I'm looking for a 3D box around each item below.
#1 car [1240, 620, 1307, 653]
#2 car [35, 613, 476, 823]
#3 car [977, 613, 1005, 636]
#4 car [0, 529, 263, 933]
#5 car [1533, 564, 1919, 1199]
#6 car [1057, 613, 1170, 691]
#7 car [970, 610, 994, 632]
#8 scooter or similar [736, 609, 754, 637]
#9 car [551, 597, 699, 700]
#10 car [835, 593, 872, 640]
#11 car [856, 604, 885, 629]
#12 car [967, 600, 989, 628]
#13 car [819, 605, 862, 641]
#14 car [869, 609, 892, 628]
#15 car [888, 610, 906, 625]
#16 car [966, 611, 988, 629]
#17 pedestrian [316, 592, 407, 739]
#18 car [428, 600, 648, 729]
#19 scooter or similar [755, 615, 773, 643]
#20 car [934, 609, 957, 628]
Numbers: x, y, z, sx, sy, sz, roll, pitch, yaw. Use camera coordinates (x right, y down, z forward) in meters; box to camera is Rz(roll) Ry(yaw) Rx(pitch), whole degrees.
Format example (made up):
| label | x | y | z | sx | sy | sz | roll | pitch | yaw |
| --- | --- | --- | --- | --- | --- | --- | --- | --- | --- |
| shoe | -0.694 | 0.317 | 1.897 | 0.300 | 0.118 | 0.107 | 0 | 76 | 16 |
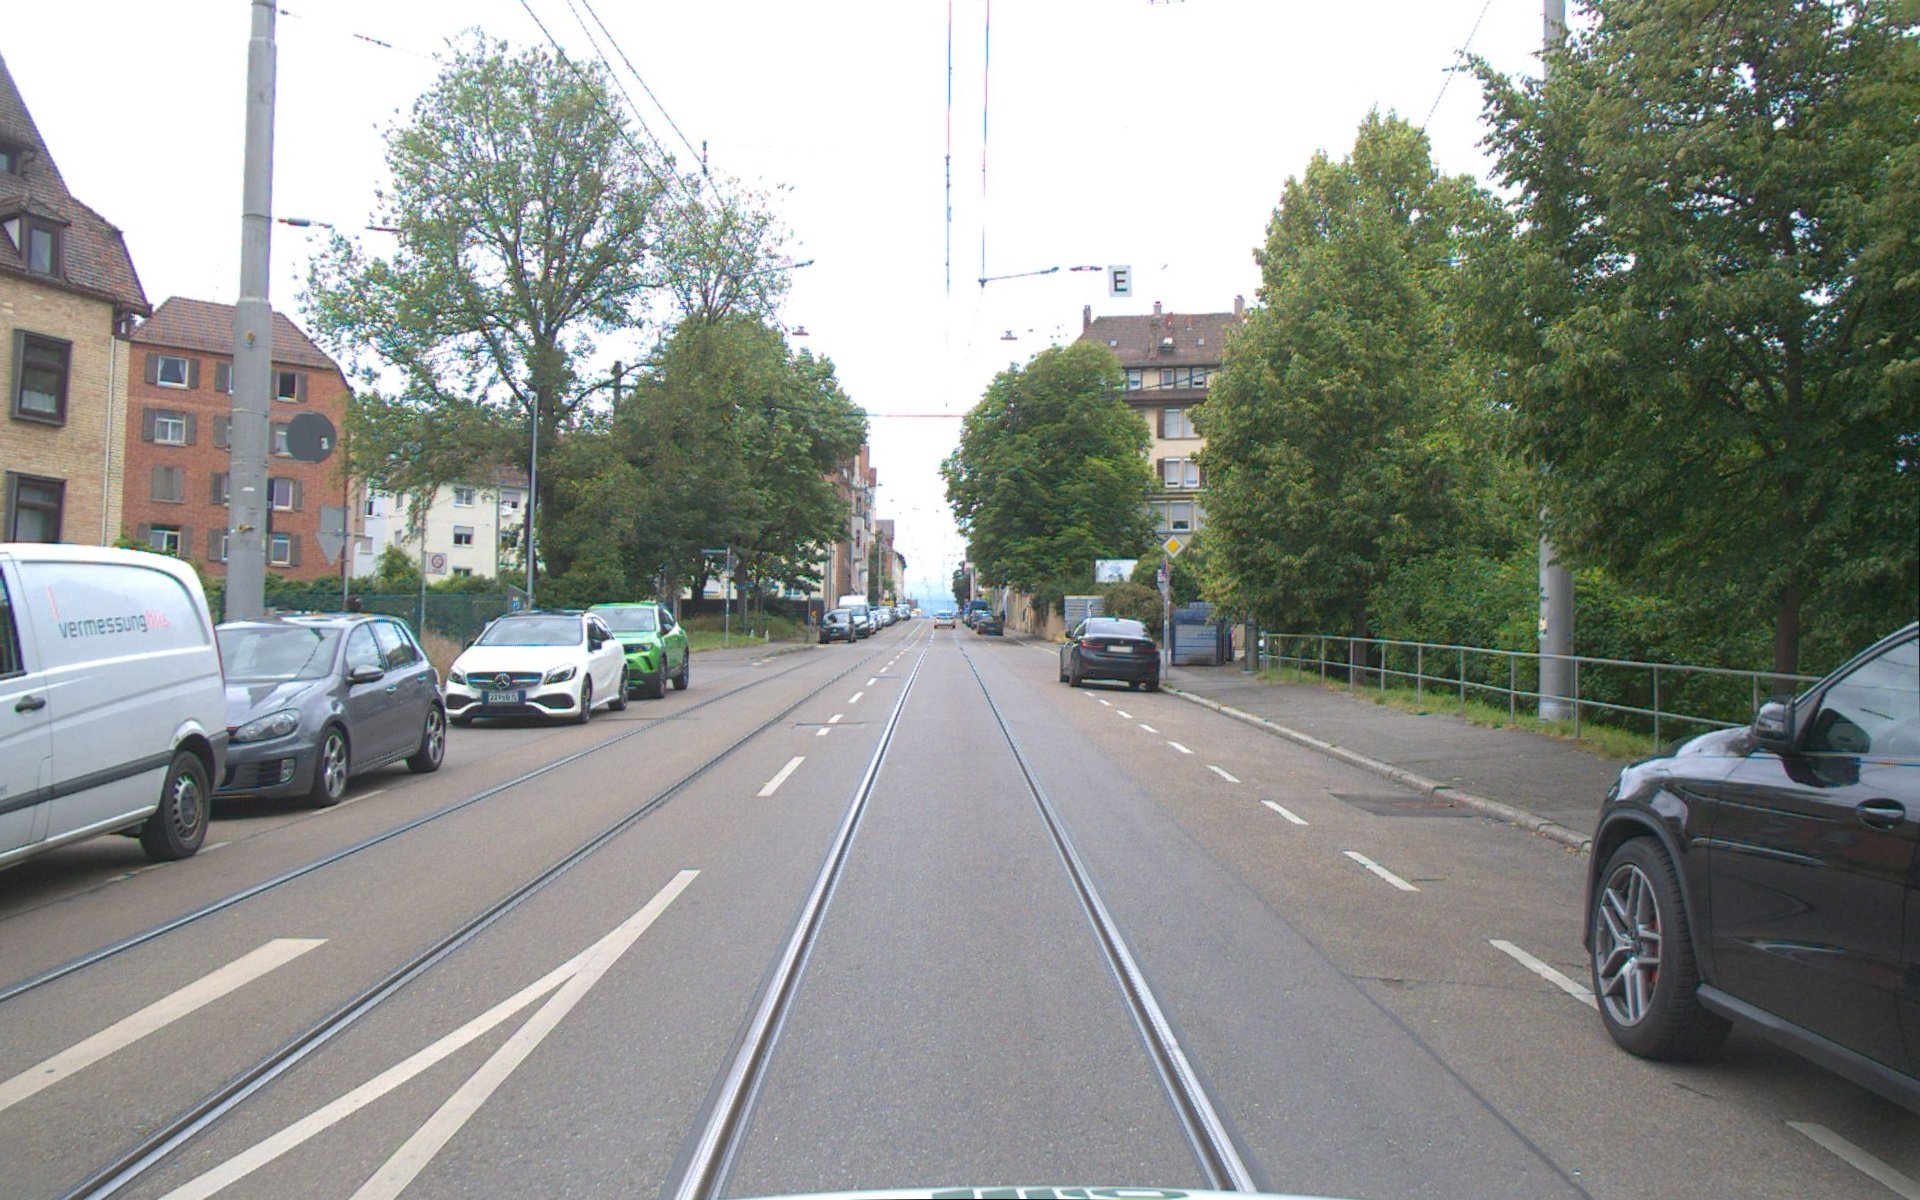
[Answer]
| label | x | y | z | sx | sy | sz | roll | pitch | yaw |
| --- | --- | --- | --- | --- | --- | --- | --- | --- | --- |
| car | 15.048 | 1.748 | 79.270 | 1.955 | 1.505 | 4.457 | 1 | -1 | 28 |
| car | -5.692 | 0.858 | 14.071 | 1.857 | 1.458 | 4.510 | 0 | 0 | -1 |
| car | 2.174 | 1.777 | 117.979 | 1.952 | 1.557 | 4.312 | 1 | -1 | 0 |
| car | -5.578 | 0.664 | 8.524 | 1.995 | 1.914 | 4.883 | -2 | -1 | -2 |
| car | 3.403 | 0.807 | 4.525 | 1.839 | 1.707 | 5.062 | 3 | 0 | 0 |
| car | 3.160 | 1.060 | 34.944 | 1.791 | 1.455 | 4.846 | 3 | -1 | -1 |
| car | 1.815 | 1.771 | 138.845 | 1.953 | 1.747 | 3.999 | 0 | -1 | 0 |
| scooter or similar | -10.903 | 1.173 | 83.962 | 0.676 | 1.362 | 1.639 | 1 | -1 | 0 |
| car | -5.606 | 0.782 | 28.171 | 1.688 | 1.607 | 4.180 | 0 | 0 | 0 |
| car | -6.623 | 1.050 | 103.320 | 2.186 | 2.813 | 5.796 | 1 | -1 | -3 |
| car | -7.002 | 1.334 | 130.321 | 1.952 | 1.844 | 4.312 | 1 | -1 | 1 |
| car | 1.695 | 1.324 | 156.647 | 1.953 | 2.619 | 4.704 | 0 | -1 | 0 |
| car | -6.398 | 1.258 | 88.827 | 1.952 | 1.840 | 4.000 | 1 | -1 | 1 |
| car | -7.037 | 1.652 | 147.141 | 1.885 | 1.629 | 3.999 | 1 | -1 | 0 |
| car | -7.110 | 1.941 | 186.664 | 1.953 | 1.629 | 3.999 | 1 | -1 | -1 |
| car | 1.532 | 1.839 | 151.131 | 1.953 | 1.680 | 3.999 | 0 | -1 | 0 |
| pedestrian | -6.923 | 0.751 | 19.165 | 0.790 | 1.657 | 0.914 | 1 | -1 | -10 |
| car | -5.609 | 0.818 | 22.584 | 1.846 | 1.553 | 4.662 | -1 | -1 | -1 |
| scooter or similar | -9.938 | 1.477 | 83.871 | 0.676 | 1.362 | 1.639 | 1 | -1 | 0 |
| car | -1.262 | 1.620 | 141.939 | 1.953 | 1.525 | 4.311 | 1 | -1 | -1 |
